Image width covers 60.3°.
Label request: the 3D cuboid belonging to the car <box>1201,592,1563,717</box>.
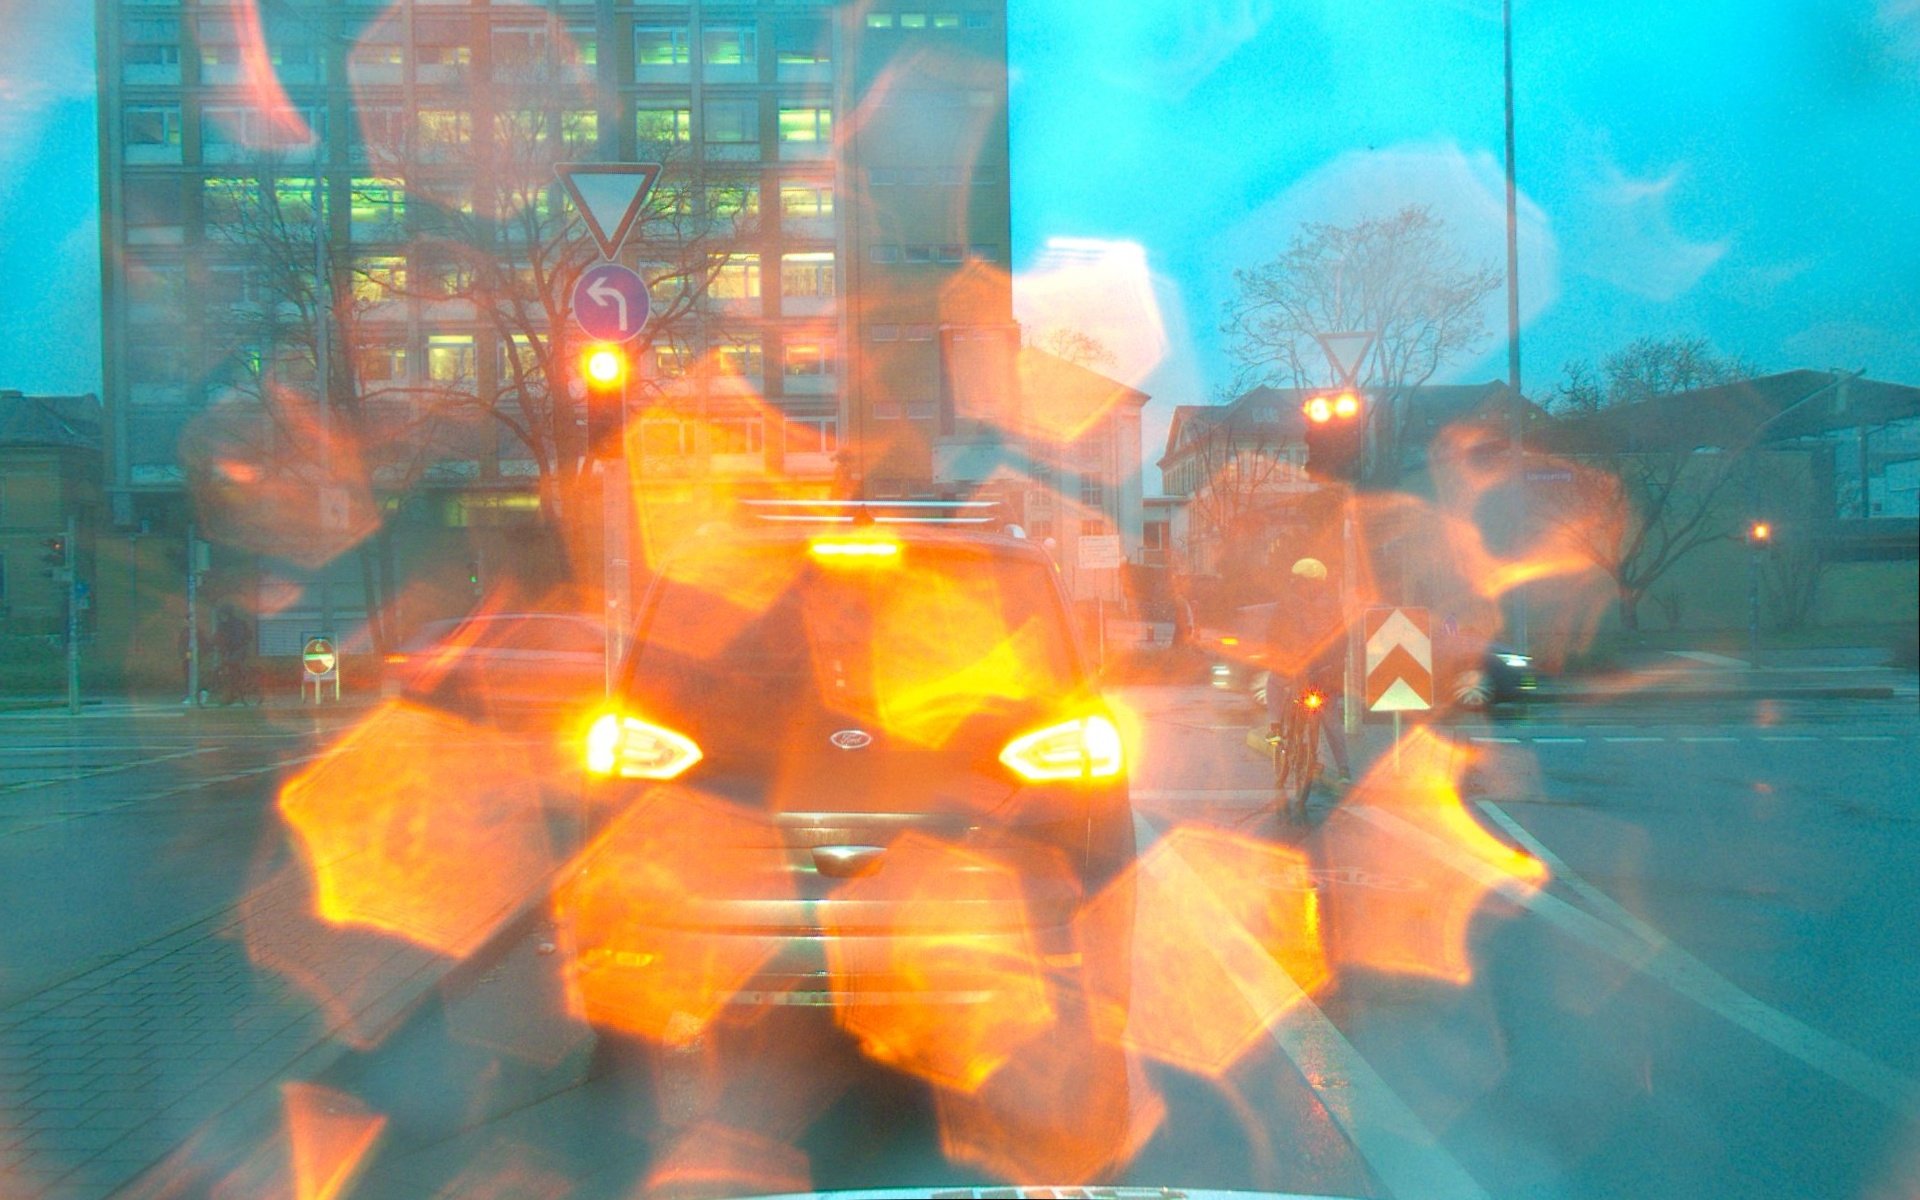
[{"bbox_3d":[5.545,0.717,22.127,4.480,1.503,1.813,-2,-1,11],"label":"car"}]

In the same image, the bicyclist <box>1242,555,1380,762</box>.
[{"bbox_3d":[2.632,0.425,12.511,0.767,1.478,1.133,1,0,-1],"label":"bicyclist"}]

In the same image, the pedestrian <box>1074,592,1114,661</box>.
[{"bbox_3d":[3.641,0.709,44.972,0.975,1.831,0.920,-2,0,8],"label":"pedestrian"}]

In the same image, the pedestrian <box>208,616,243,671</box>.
[{"bbox_3d":[-22.891,1.354,51.546,0.743,1.656,0.558,-2,0,14],"label":"pedestrian"}]

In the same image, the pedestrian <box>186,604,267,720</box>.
[{"bbox_3d":[-13.202,1.107,29.804,0.908,2.013,0.960,-2,0,5],"label":"pedestrian"}]

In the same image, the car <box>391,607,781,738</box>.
[{"bbox_3d":[-4.726,0.908,21.127,4.480,1.503,1.813,-2,-1,11],"label":"car"}]

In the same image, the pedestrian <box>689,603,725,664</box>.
[{"bbox_3d":[-7.050,0.916,46.113,0.743,1.656,0.722,-2,0,7],"label":"pedestrian"}]

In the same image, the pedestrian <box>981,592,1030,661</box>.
[{"bbox_3d":[1.217,0.685,43.693,1.111,1.750,0.982,-2,0,10],"label":"pedestrian"}]

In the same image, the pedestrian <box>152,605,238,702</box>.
[{"bbox_3d":[-15.609,1.084,33.757,0.980,1.874,1.139,-2,2,21],"label":"pedestrian"}]

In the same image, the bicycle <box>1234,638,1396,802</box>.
[{"bbox_3d":[2.635,0.857,12.499,0.767,1.094,1.956,1,0,-1],"label":"bicycle"}]

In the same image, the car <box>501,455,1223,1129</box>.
[{"bbox_3d":[-0.293,0.539,6.544,1.953,1.821,3.999,1,0,-1],"label":"car"}]
